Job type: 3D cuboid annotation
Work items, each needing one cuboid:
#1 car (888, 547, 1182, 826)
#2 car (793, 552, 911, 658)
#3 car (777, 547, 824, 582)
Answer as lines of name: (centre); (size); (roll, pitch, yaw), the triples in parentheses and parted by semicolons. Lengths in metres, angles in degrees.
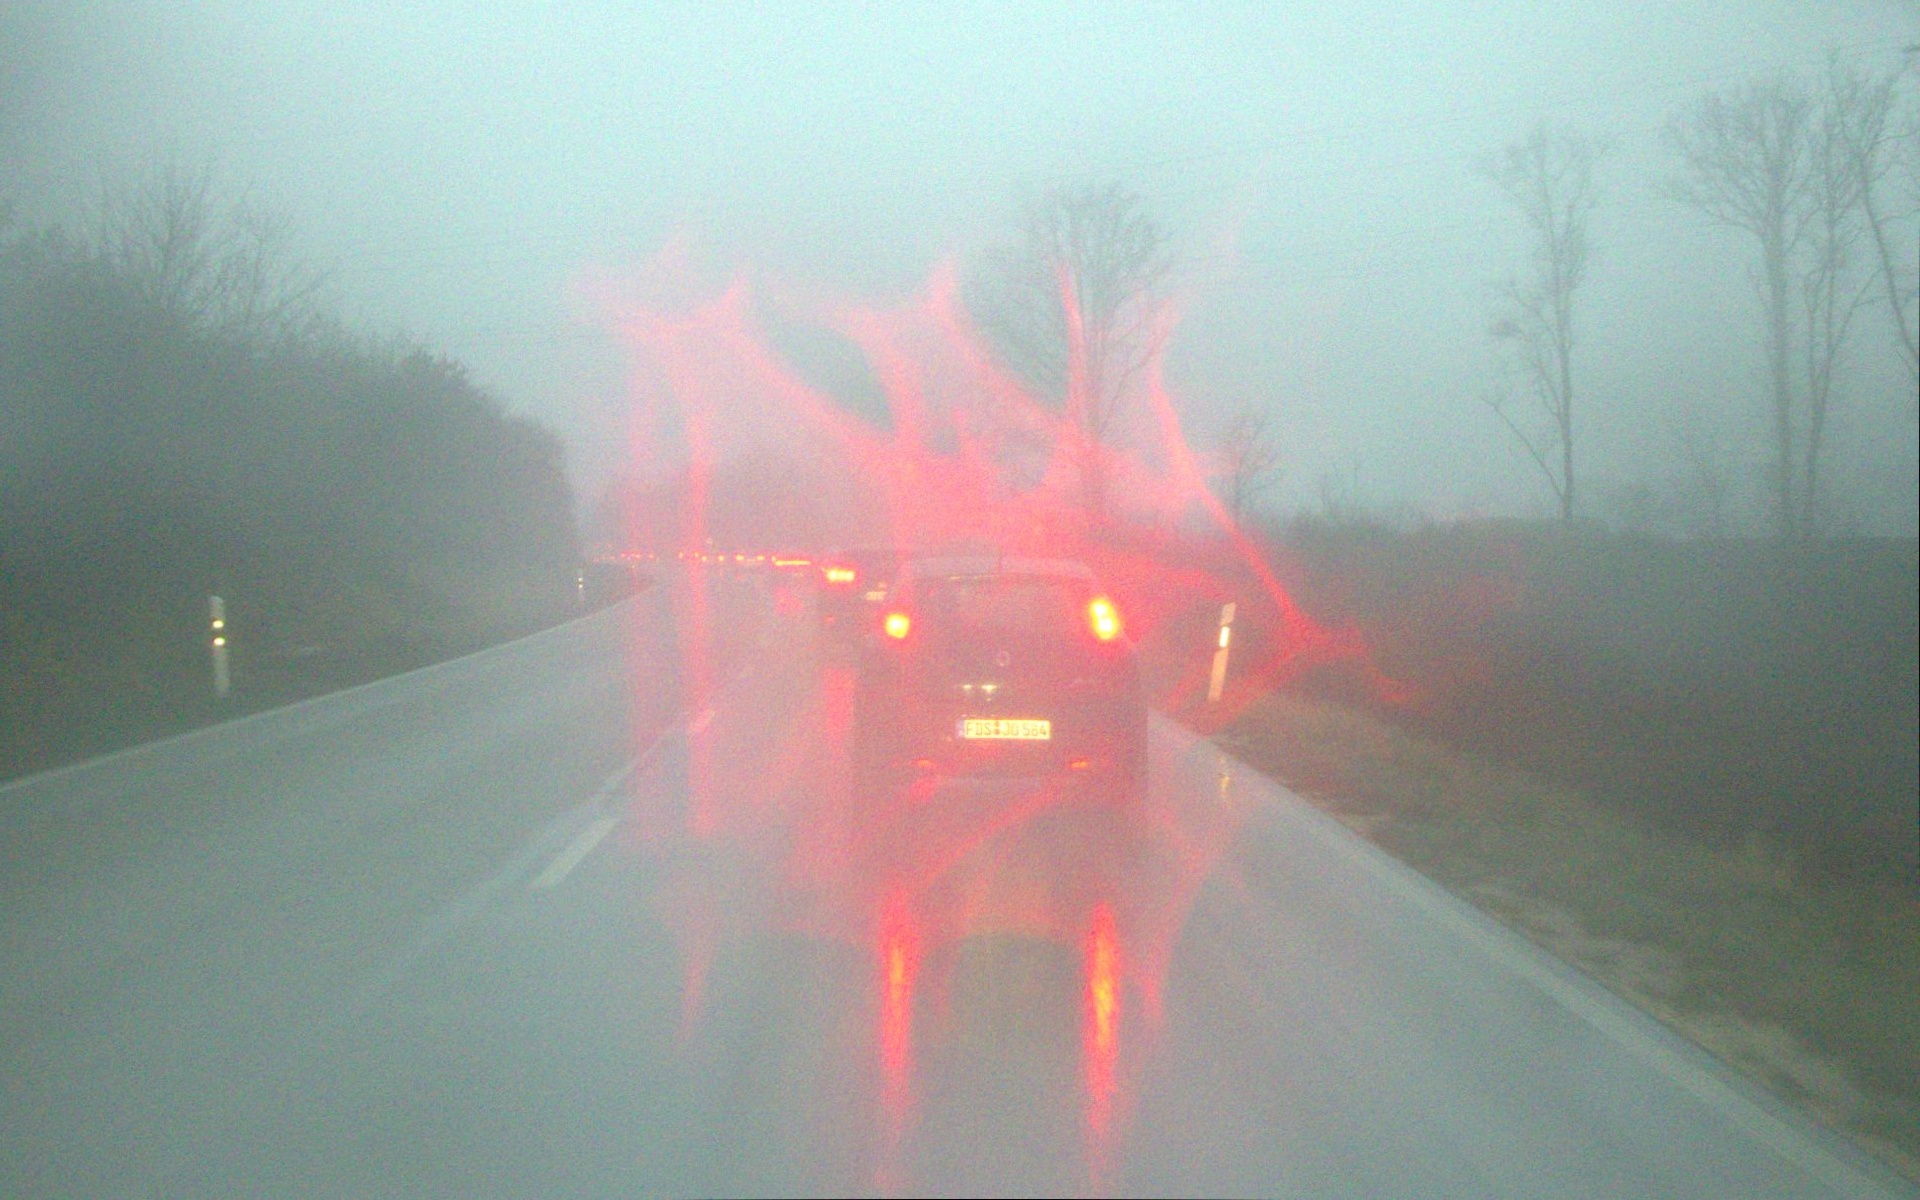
car: (0.434, 0.445, 20.856); (1.602, 1.517, 3.869); (1, 1, 1)
car: (-1.472, 0.039, 47.669); (1.547, 1.392, 3.870); (1, 1, -1)
car: (-6.385, -1.432, 138.012); (1.547, 1.392, 3.869); (1, 1, 2)
